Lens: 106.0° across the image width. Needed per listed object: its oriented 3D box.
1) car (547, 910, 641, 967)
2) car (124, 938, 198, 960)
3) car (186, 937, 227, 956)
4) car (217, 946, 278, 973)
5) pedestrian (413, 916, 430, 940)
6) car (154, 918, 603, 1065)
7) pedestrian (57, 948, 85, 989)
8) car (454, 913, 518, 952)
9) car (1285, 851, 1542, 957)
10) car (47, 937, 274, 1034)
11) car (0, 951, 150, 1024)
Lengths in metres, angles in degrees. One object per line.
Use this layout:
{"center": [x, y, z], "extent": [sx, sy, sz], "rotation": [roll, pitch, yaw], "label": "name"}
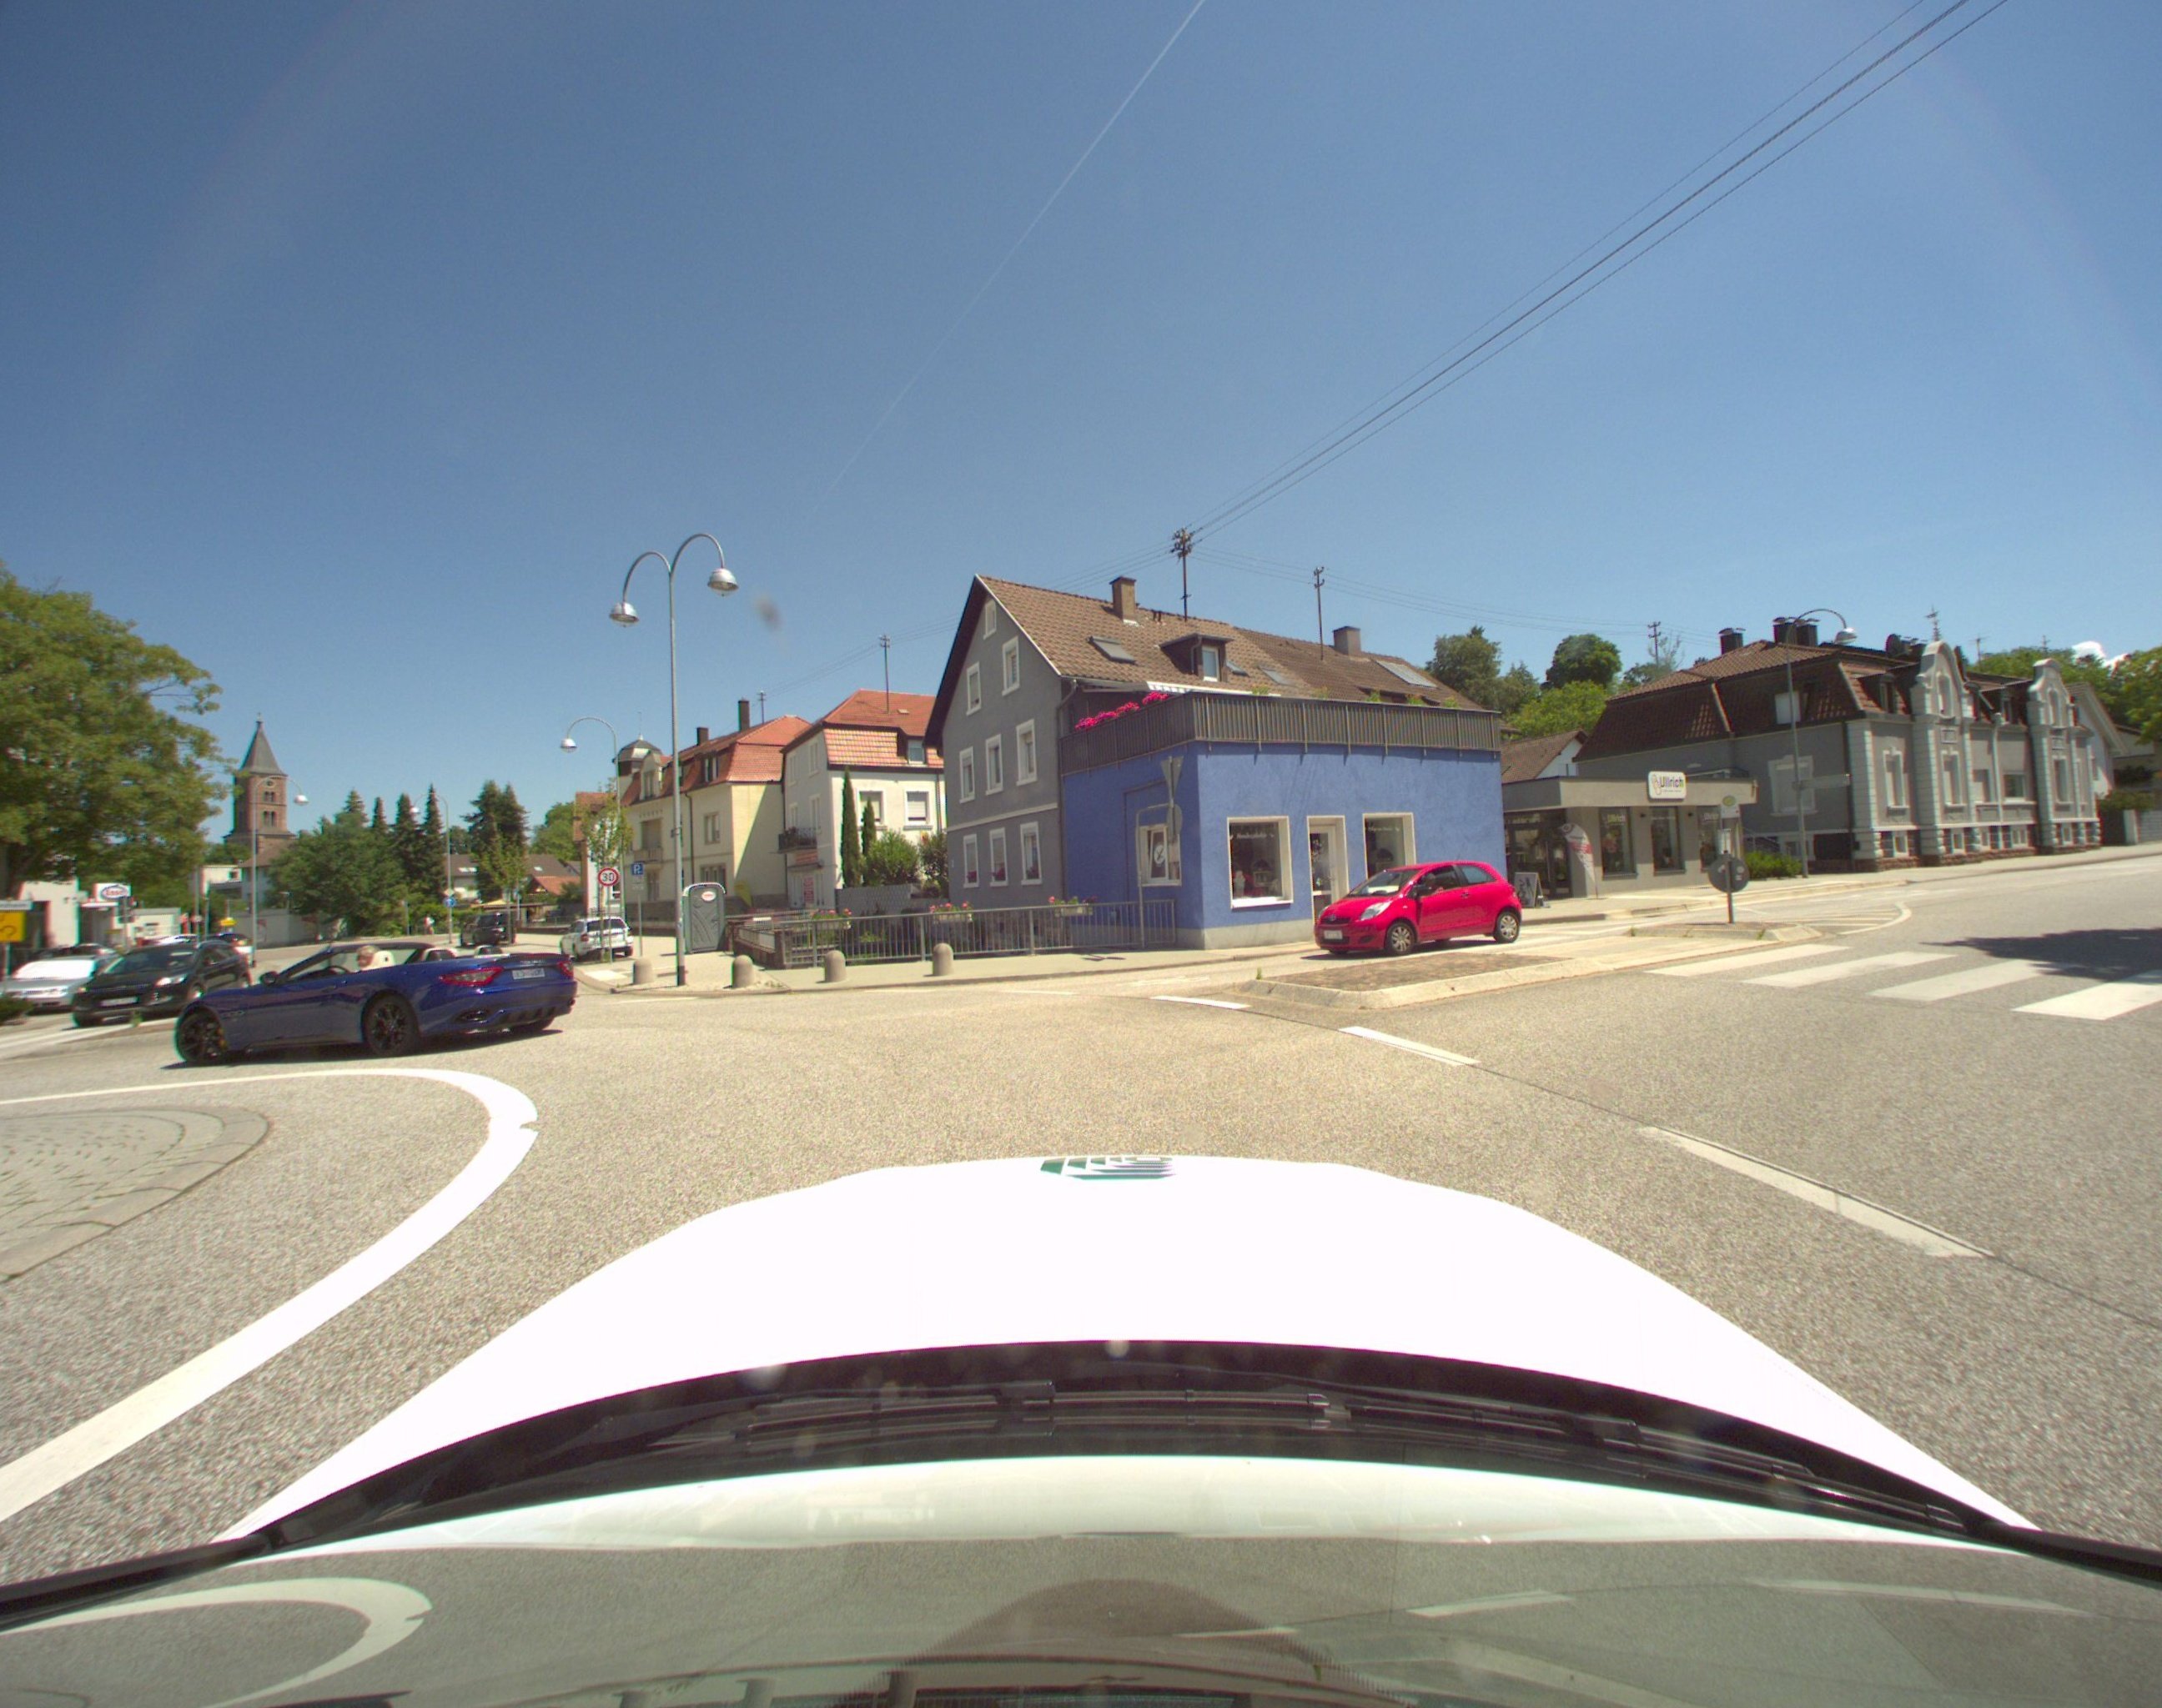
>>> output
{"center": [-17.336, 2.959, 28.913], "extent": [2.011, 1.584, 4.235], "rotation": [-7, 1, -41], "label": "car"}
{"center": [-84.483, 8.666, 74.827], "extent": [1.981, 1.651, 4.010], "rotation": [-1, -1, 9], "label": "car"}
{"center": [-72.601, 7.672, 67.593], "extent": [3.948, 1.378, 1.555], "rotation": [-5, -2, 32], "label": "car"}
{"center": [-60.807, 7.718, 59.430], "extent": [4.468, 1.688, 2.012], "rotation": [-4, -2, 30], "label": "car"}
{"center": [-51.507, 5.743, 63.645], "extent": [0.543, 1.814, 0.850], "rotation": [-2, -2, 21], "label": "pedestrian"}
{"center": [-8.729, 1.687, 10.225], "extent": [4.577, 1.398, 1.991], "rotation": [-4, -1, 15], "label": "car"}
{"center": [-38.950, 4.404, 31.410], "extent": [0.535, 1.485, 0.549], "rotation": [-2, -3, -38], "label": "pedestrian"}
{"center": [-33.266, 4.340, 45.491], "extent": [4.232, 1.865, 2.012], "rotation": [-2, -2, 42], "label": "car"}
{"center": [5.885, 0.862, 14.466], "extent": [4.004, 1.533, 1.820], "rotation": [-2, -4, -23], "label": "car"}
{"center": [-21.710, 3.005, 19.508], "extent": [2.004, 1.688, 4.486], "rotation": [-3, -2, -26], "label": "car"}
{"center": [-28.168, 3.639, 22.650], "extent": [1.807, 1.590, 3.960], "rotation": [0, -3, -30], "label": "car"}
